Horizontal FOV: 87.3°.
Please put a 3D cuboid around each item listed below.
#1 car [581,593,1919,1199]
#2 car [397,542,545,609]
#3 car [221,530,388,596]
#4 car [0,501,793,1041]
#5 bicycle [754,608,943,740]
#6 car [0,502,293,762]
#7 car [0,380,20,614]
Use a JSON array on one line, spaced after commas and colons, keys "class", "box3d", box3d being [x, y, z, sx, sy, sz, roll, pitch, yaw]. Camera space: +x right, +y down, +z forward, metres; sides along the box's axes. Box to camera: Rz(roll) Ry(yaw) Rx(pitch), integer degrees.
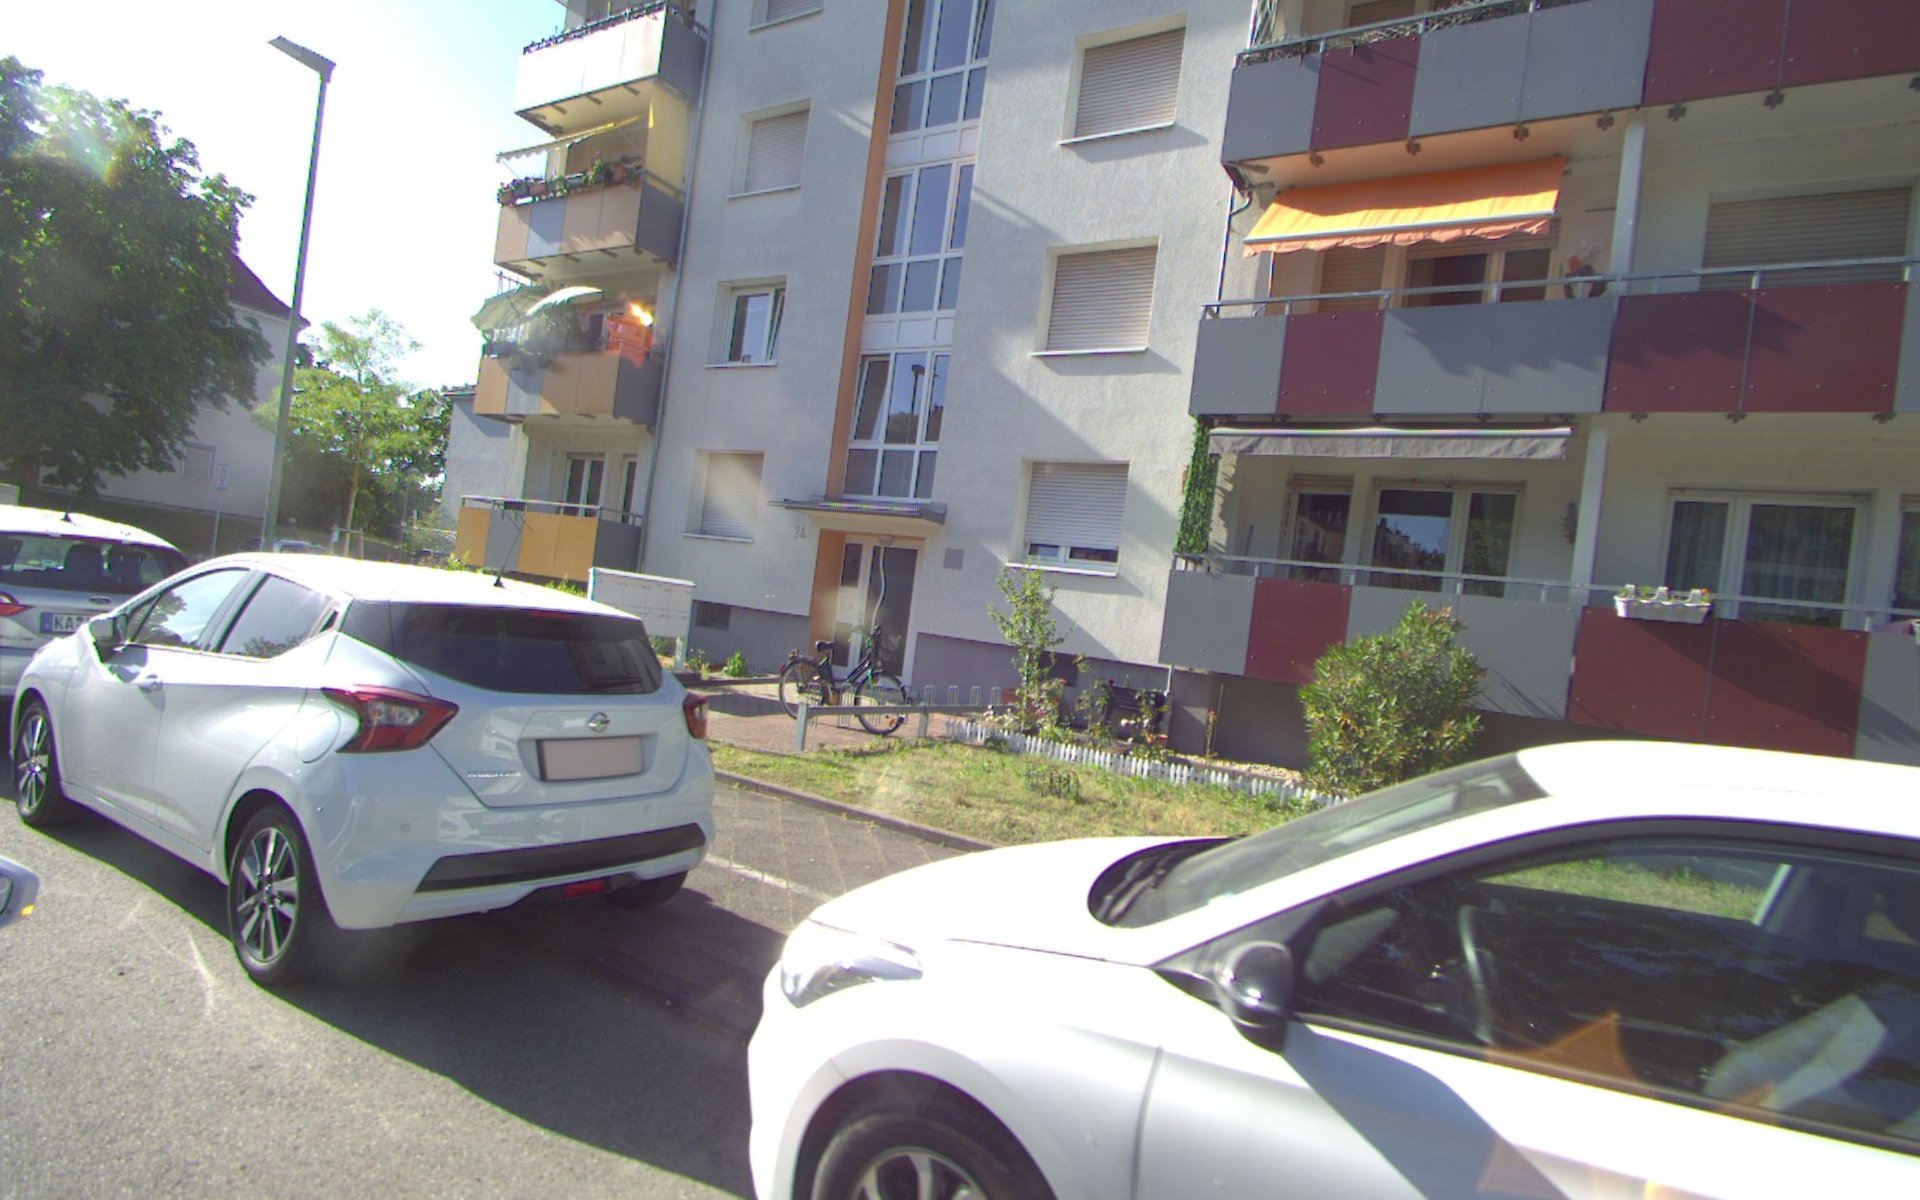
[{"class": "car", "box3d": [1.333, 0.974, 2.034, 4.085, 1.453, 1.723, 7, -1, 33]}, {"class": "car", "box3d": [-17.201, -0.809, 35.585, 1.839, 1.751, 4.288, 7, -1, 32]}, {"class": "car", "box3d": [-20.035, -1.081, 30.896, 1.630, 1.446, 3.896, 7, -1, 29]}, {"class": "car", "box3d": [-3.052, 0.483, 4.952, 4.072, 1.493, 1.880, 7, -1, 33]}, {"class": "bicycle", "box3d": [-1.237, 0.779, 10.914, 1.981, 1.190, 0.597, 5, -2, 32]}, {"class": "car", "box3d": [-6.990, 0.037, 7.309, 4.131, 1.482, 1.853, 7, -2, 31]}, {"class": "car", "box3d": [-13.419, -1.304, 11.626, 6.731, 2.747, 2.143, 7, 1, 34]}]
